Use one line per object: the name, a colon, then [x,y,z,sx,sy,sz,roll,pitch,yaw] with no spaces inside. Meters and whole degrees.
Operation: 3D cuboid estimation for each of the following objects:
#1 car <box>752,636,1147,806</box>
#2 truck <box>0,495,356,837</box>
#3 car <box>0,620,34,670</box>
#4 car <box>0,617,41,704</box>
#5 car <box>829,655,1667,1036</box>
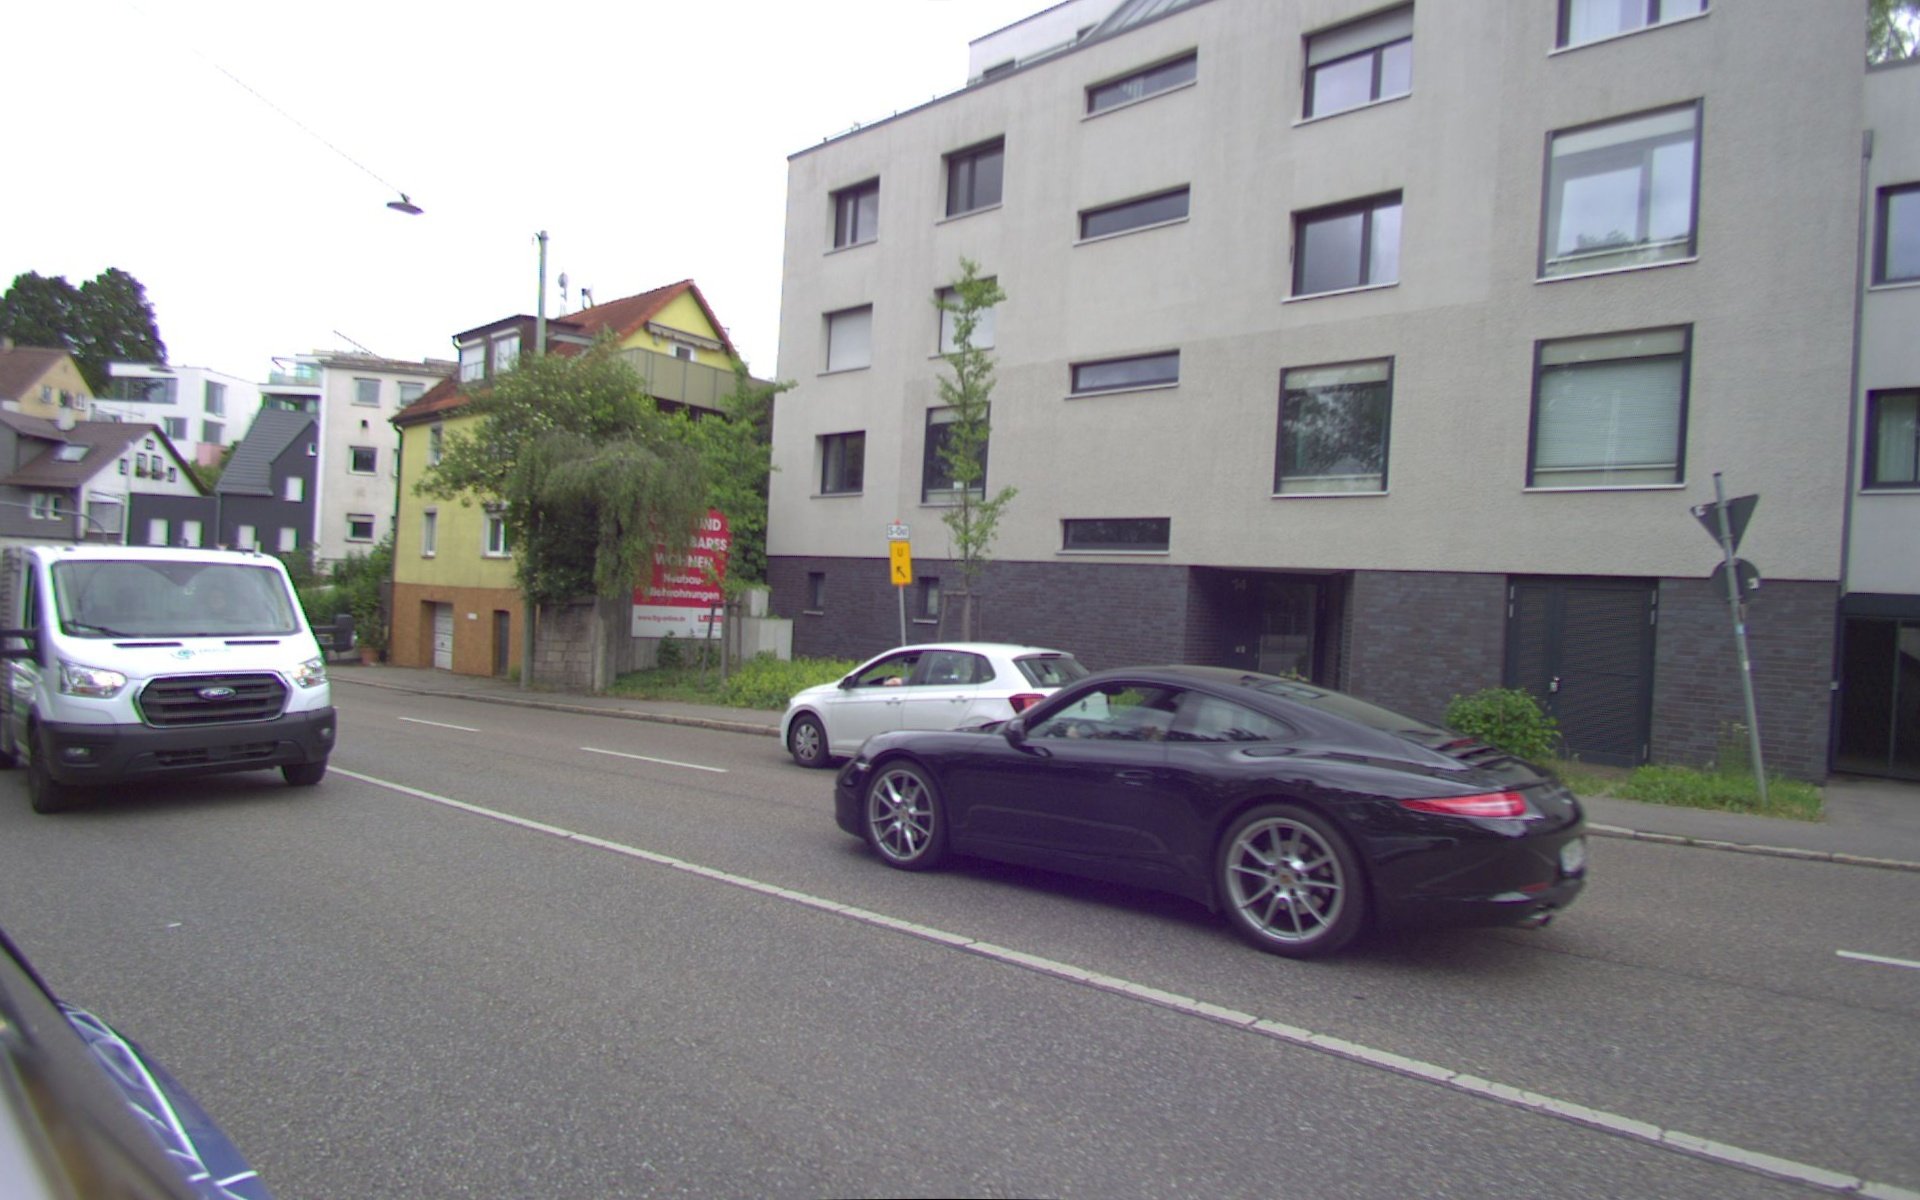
car: [-0.242,1.160,11.014,4.189,1.475,1.755,-1,-3,41]
truck: [-8.141,0.512,9.786,6.328,2.339,2.054,-1,-2,41]
car: [-34.723,1.588,36.089,4.342,1.708,1.877,-1,-1,39]
car: [-19.567,1.154,19.689,4.396,1.492,1.892,0,2,40]
car: [1.321,0.994,5.684,4.189,1.279,1.735,-1,-3,41]
